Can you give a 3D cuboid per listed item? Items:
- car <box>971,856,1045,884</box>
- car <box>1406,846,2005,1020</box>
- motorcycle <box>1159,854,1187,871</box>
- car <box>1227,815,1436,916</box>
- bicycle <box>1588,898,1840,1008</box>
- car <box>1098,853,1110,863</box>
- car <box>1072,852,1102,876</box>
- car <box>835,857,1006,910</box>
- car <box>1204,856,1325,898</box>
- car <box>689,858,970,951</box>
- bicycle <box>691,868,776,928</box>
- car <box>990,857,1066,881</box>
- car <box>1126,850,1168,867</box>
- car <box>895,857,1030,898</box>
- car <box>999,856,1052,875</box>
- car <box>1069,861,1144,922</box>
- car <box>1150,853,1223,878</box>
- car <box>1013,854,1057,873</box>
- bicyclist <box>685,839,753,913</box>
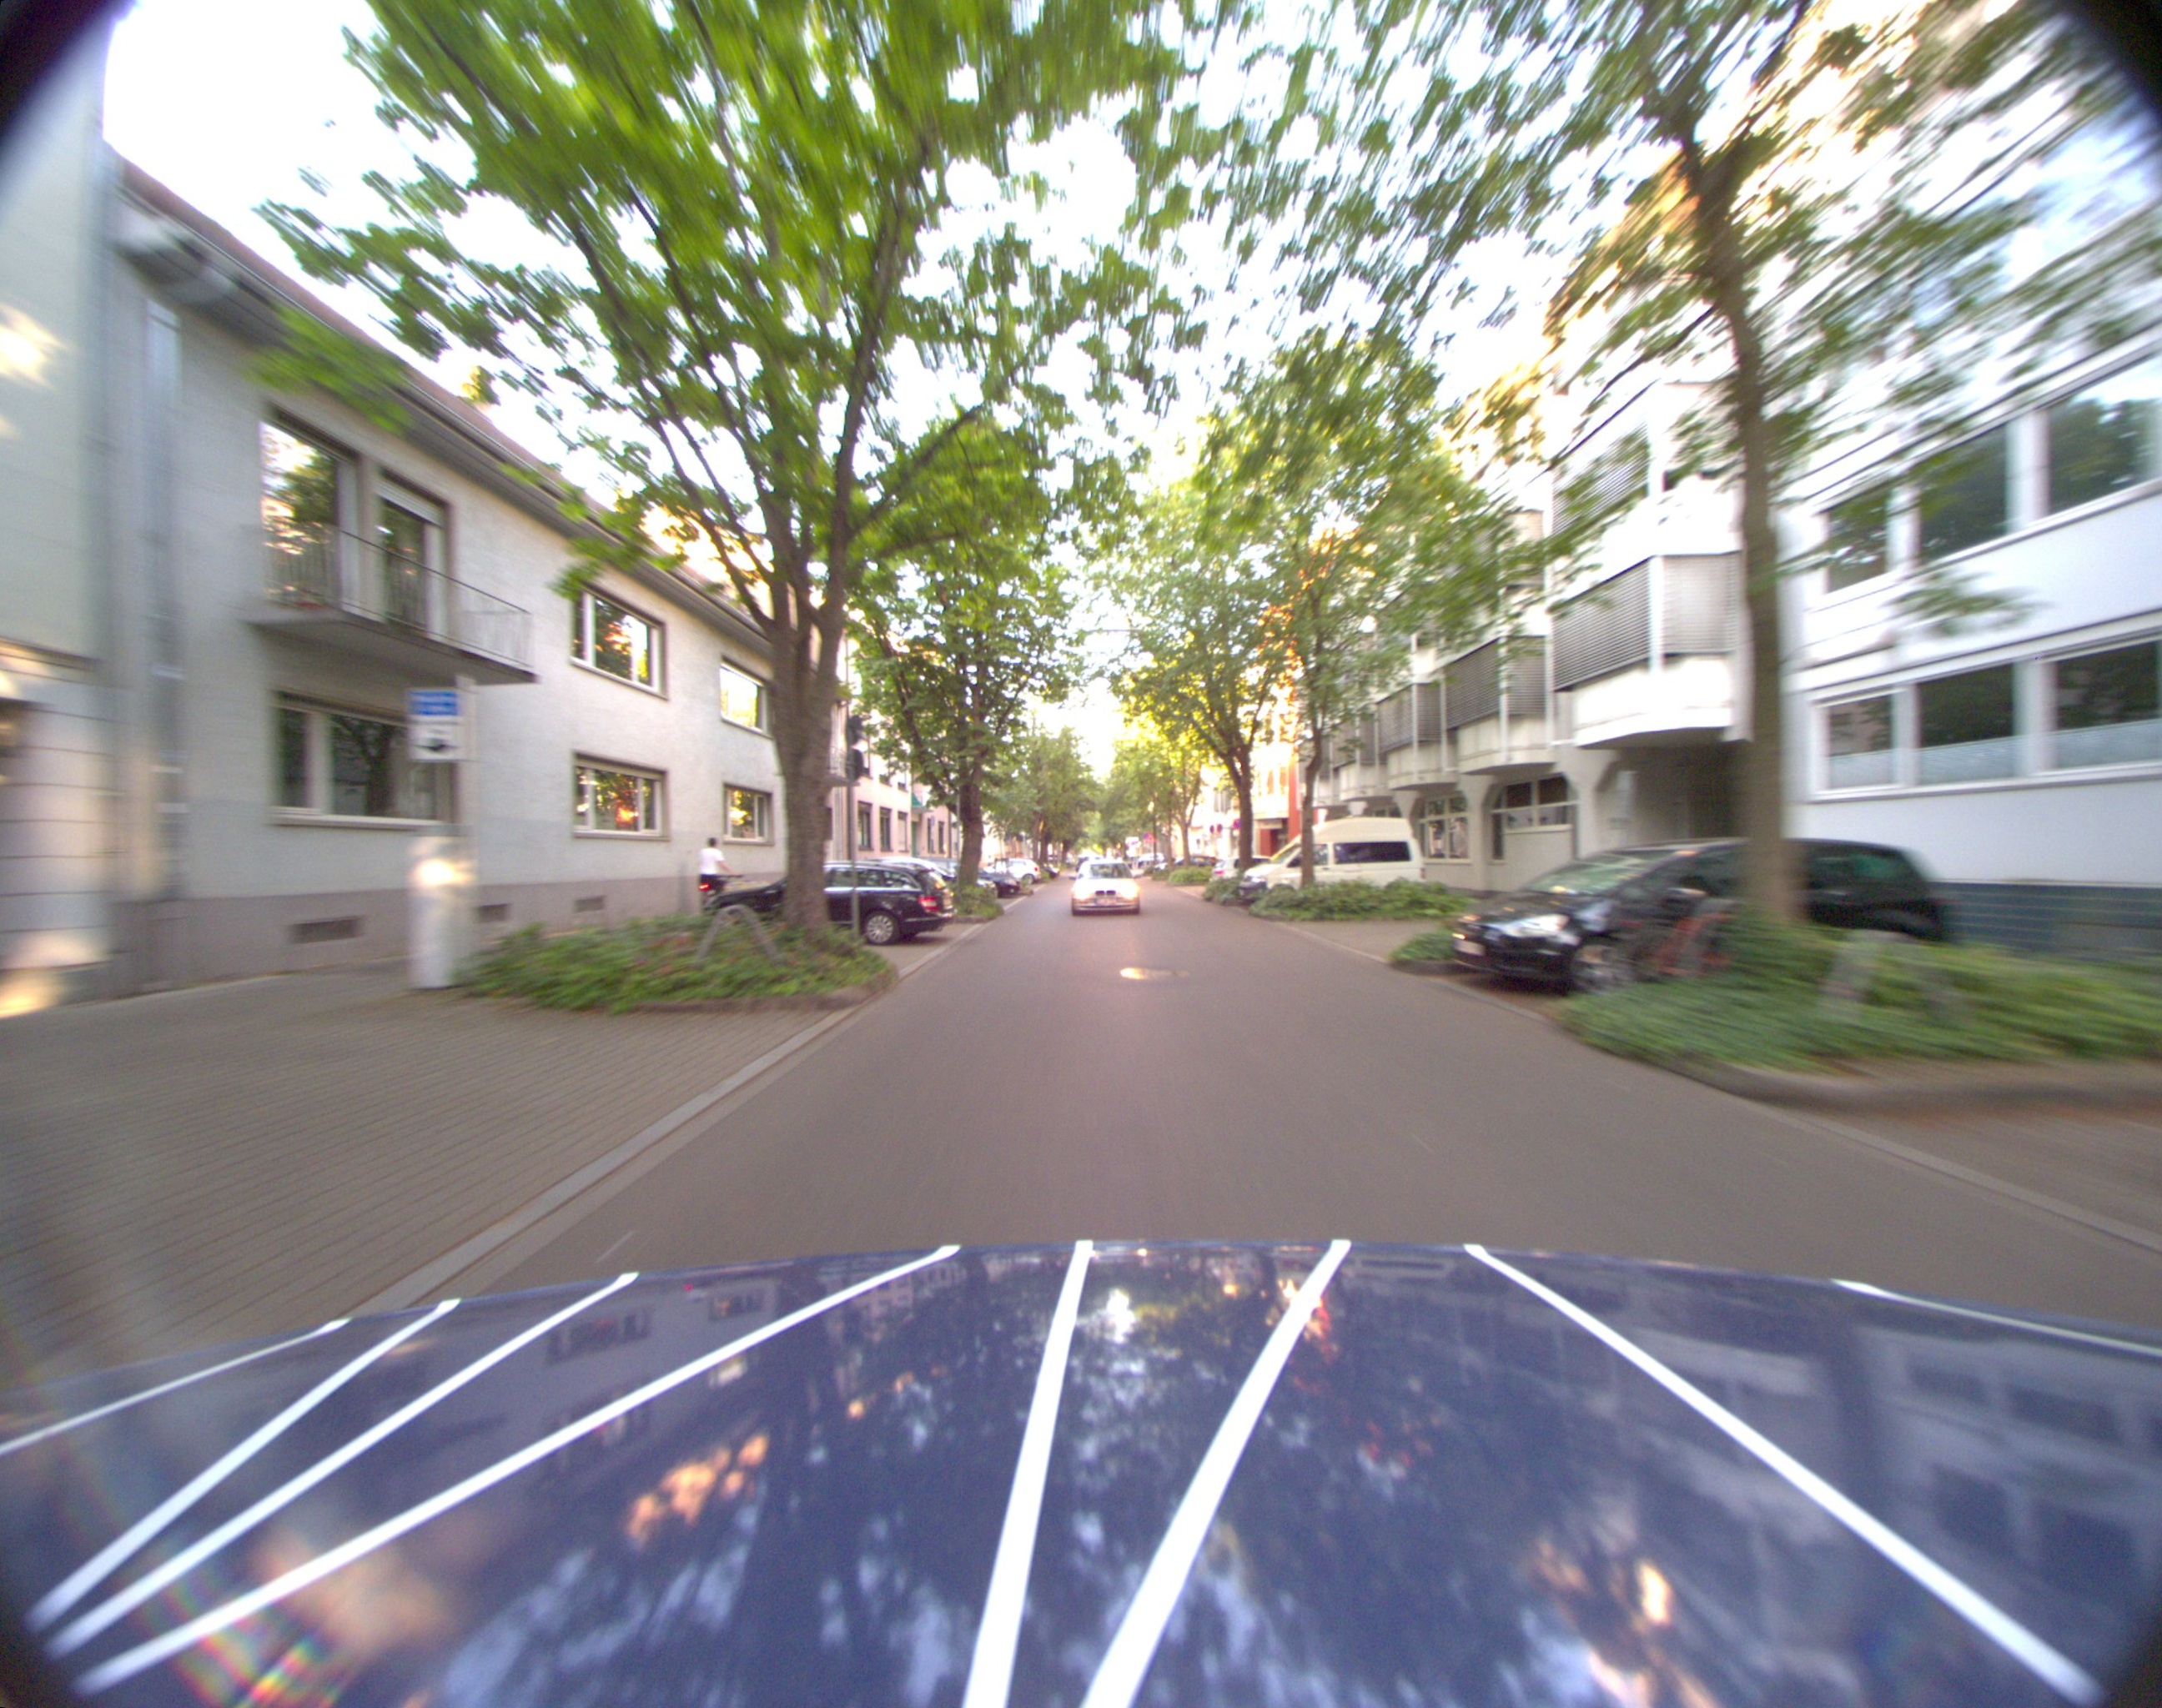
[{"bbox_3d":[-4.110,0.903,43.332,4.093,1.482,1.798,-1,0,-2],"label":"car"},{"bbox_3d":[6.527,0.778,8.484,4.864,1.612,2.160,-1,0,1],"label":"car"},{"bbox_3d":[7.931,0.724,65.745,2.234,1.461,0.900,-1,0,-22],"label":"motorcycle"},{"bbox_3d":[6.736,0.302,20.893,5.016,2.558,2.121,-1,0,1],"label":"car"},{"bbox_3d":[5.253,0.810,6.374,1.556,0.826,0.613,-1,0,4],"label":"bicycle"},{"bbox_3d":[3.750,0.653,125.352,1.787,1.678,4.385,-1,0,-1],"label":"car"},{"bbox_3d":[0.497,0.706,56.538,1.892,1.635,4.001,-2,0,5],"label":"car"},{"bbox_3d":[-4.770,0.855,23.046,4.689,1.380,2.000,2,0,2],"label":"car"},{"bbox_3d":[6.946,0.854,29.132,4.178,1.460,1.953,-1,0,1],"label":"car"},{"bbox_3d":[-4.511,0.862,14.055,4.468,1.419,2.012,2,1,5],"label":"car"},{"bbox_3d":[-7.817,0.927,17.301,0.622,1.157,3.399,-1,0,-5],"label":"bicycle"},{"bbox_3d":[-3.524,0.978,51.303,4.886,1.488,1.988,-1,0,1],"label":"car"},{"bbox_3d":[7.413,0.518,85.010,4.601,1.725,2.142,-1,0,6],"label":"car"},{"bbox_3d":[-4.514,0.871,29.509,4.851,1.439,2.042,1,0,3],"label":"car"},{"bbox_3d":[-4.114,0.830,56.157,3.846,1.403,1.712,0,0,-4],"label":"car"},{"bbox_3d":[0.623,0.904,19.957,1.736,1.363,4.333,-1,0,1],"label":"car"},{"bbox_3d":[6.916,0.725,50.012,4.520,1.517,1.872,-1,0,0],"label":"car"},{"bbox_3d":[-3.890,0.820,64.841,3.731,1.544,1.754,-1,0,-2],"label":"car"},{"bbox_3d":[-8.039,0.473,16.925,0.973,1.595,1.135,-1,1,-3],"label":"bicyclist"}]
